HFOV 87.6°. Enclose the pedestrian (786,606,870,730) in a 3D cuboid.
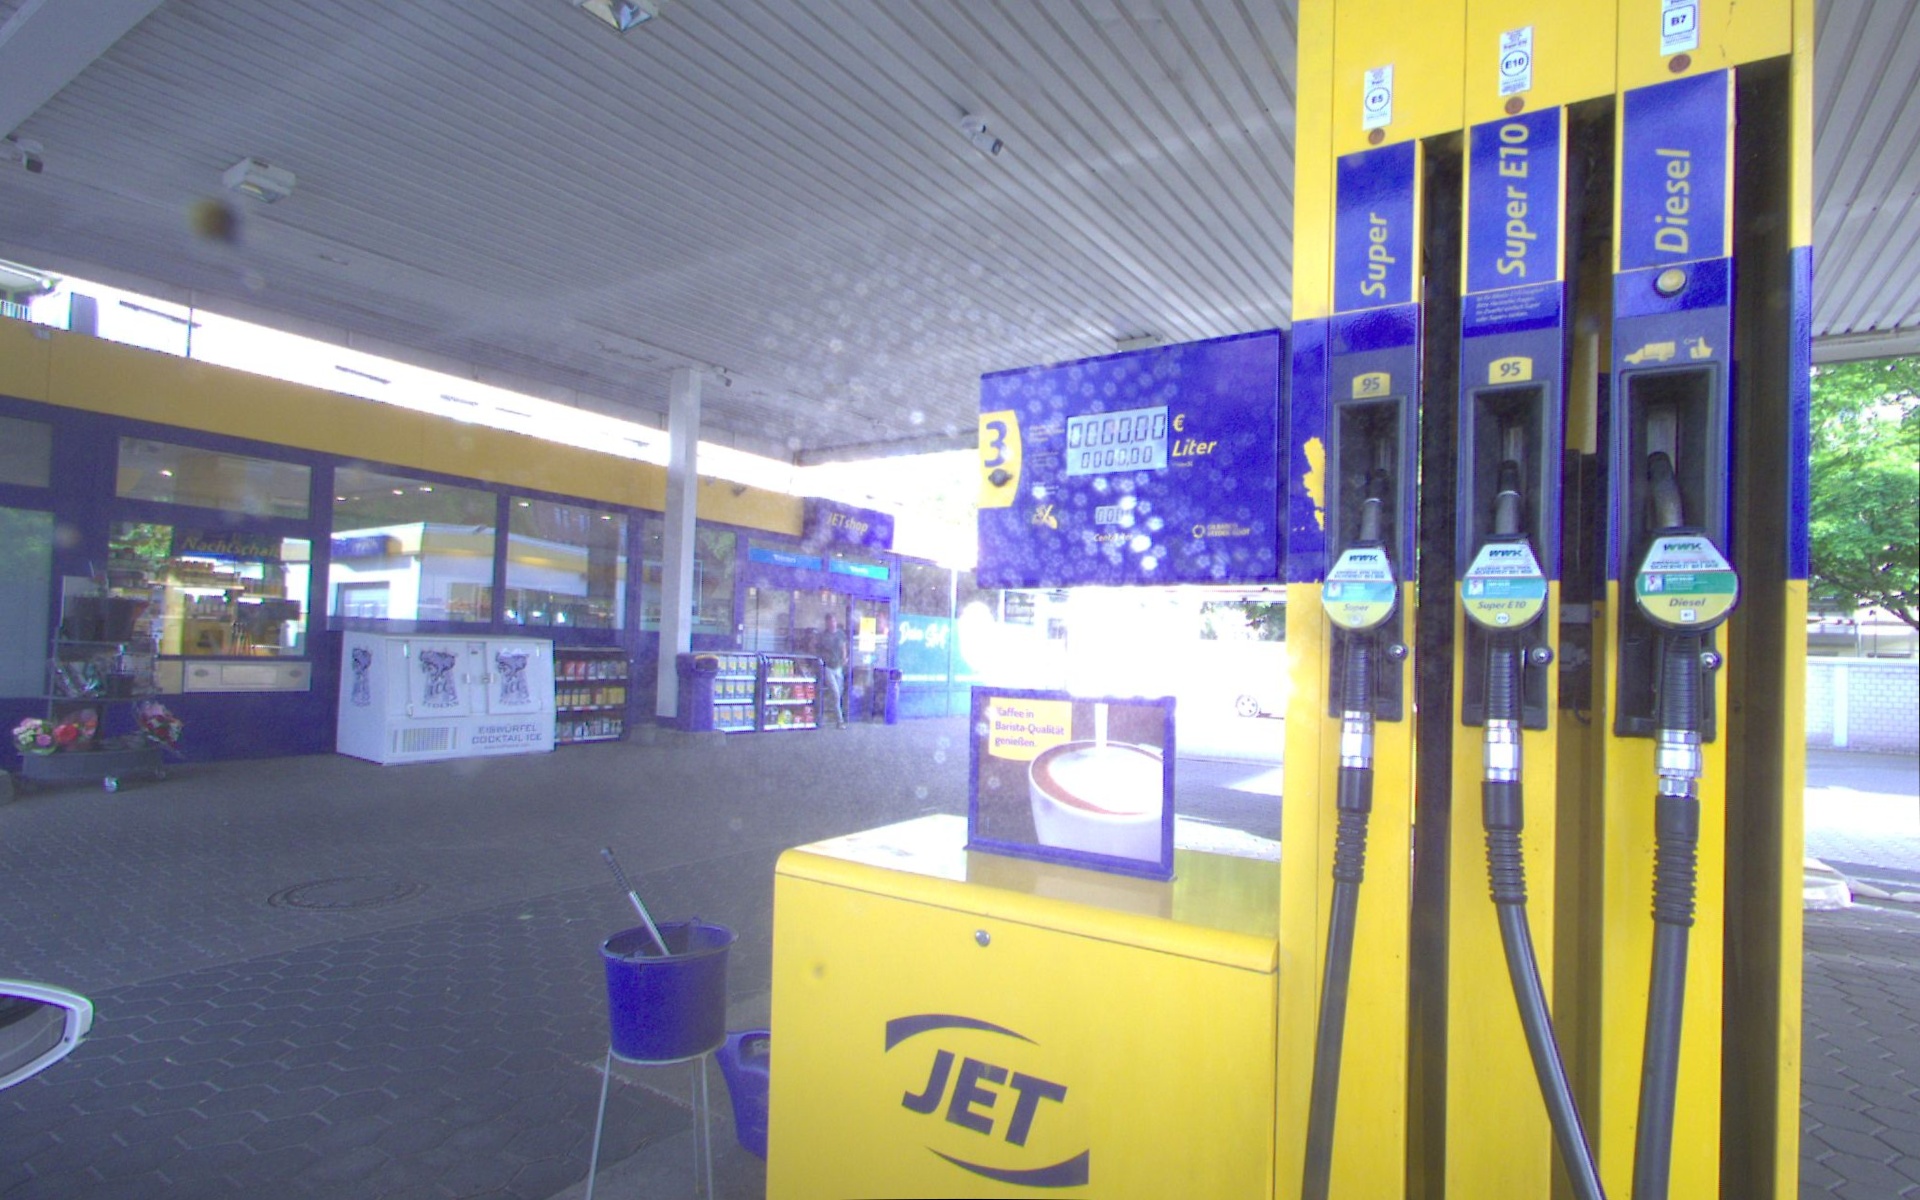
[{"bbox_3d":[-2.045,1.035,15.548,0.971,1.838,0.799,0,-2,34],"label":"pedestrian"}]
